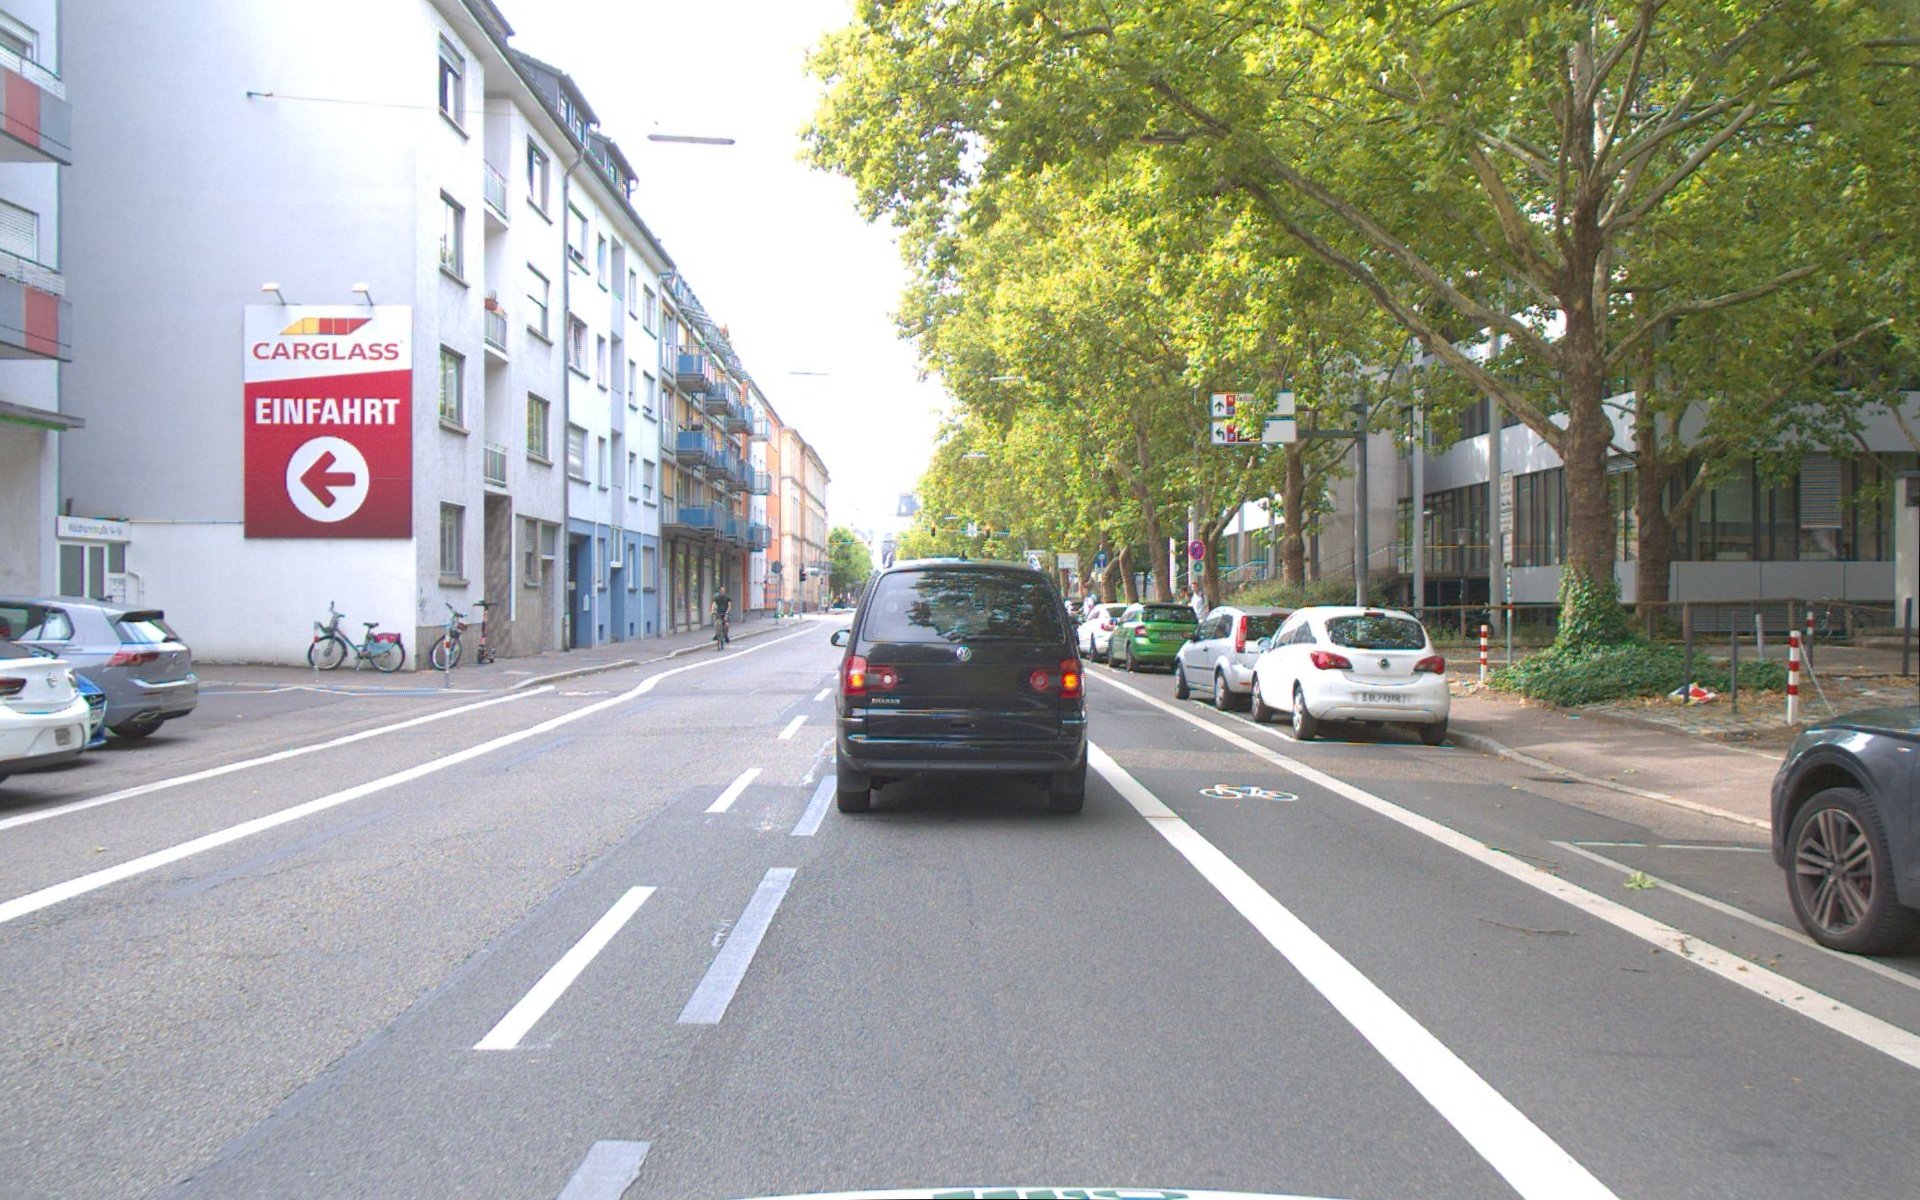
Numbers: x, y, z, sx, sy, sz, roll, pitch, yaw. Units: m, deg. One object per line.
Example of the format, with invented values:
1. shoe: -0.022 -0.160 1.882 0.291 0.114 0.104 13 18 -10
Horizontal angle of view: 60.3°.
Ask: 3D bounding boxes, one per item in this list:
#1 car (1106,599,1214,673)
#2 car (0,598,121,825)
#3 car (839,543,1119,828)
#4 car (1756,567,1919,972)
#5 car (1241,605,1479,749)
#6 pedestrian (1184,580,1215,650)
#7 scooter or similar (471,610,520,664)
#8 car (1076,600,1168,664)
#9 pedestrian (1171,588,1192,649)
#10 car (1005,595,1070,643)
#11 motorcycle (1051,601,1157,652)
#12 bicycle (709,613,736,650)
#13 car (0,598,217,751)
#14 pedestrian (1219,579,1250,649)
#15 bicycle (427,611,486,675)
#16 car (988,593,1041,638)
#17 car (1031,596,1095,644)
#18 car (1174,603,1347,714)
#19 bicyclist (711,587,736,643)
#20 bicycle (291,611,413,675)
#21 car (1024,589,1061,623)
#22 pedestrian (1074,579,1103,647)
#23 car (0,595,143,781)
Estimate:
1. car: 4.256 0.746 35.683 1.609 1.438 3.412 2 0 -5
2. car: -8.150 0.727 11.975 3.276 1.523 1.595 2 0 -3
3. car: -0.006 0.546 12.403 1.777 1.797 3.735 1 0 -4
4. car: 4.848 0.739 5.869 1.635 1.669 4.501 2 0 -3
5. car: 4.580 0.813 19.589 1.642 1.418 4.460 2 0 -1
6. pedestrian: 6.417 0.393 44.374 0.751 1.863 0.516 0 0 -1
7. scooter or similar: -9.375 0.767 33.439 0.619 1.052 2.012 1 -2 -7
8. car: 3.914 0.757 40.440 1.609 1.419 3.509 2 0 -5
9. pedestrian: 6.158 0.510 46.037 0.499 1.709 0.516 0 0 -1
10. car: 2.784 0.669 60.144 1.832 1.534 3.996 1 2 -5
11. motorcycle: 3.848 0.710 44.307 2.780 1.348 0.765 0 0 -2
12. bicycle: -7.126 0.951 49.670 0.618 1.052 2.013 1 -2 -4
13. car: -9.494 0.709 16.677 3.276 1.426 1.503 2 0 -3
14. pedestrian: 7.401 0.381 44.570 0.751 1.863 0.516 0 0 -1
15. bicycle: -9.297 0.771 30.611 0.618 1.052 2.014 1 2 -5
16. car: 2.139 0.572 65.260 1.708 1.719 3.801 0 0 -4
17. car: 3.413 0.644 55.514 1.609 1.513 3.509 2 0 -5
18. car: 4.304 0.799 24.147 1.609 1.438 3.412 2 0 -5
19. bicyclist: -7.120 0.452 49.797 0.640 1.639 0.655 1 -2 -4
20. bicycle: -10.658 0.756 29.012 1.967 1.052 0.410 1 1 0
21. car: 4.406 0.294 88.906 1.752 1.803 3.999 0 0 -1
22. pedestrian: 3.548 0.367 45.724 0.751 1.863 0.516 0 0 -1
23. car: -9.251 0.706 14.550 3.276 1.523 1.595 2 0 -3
